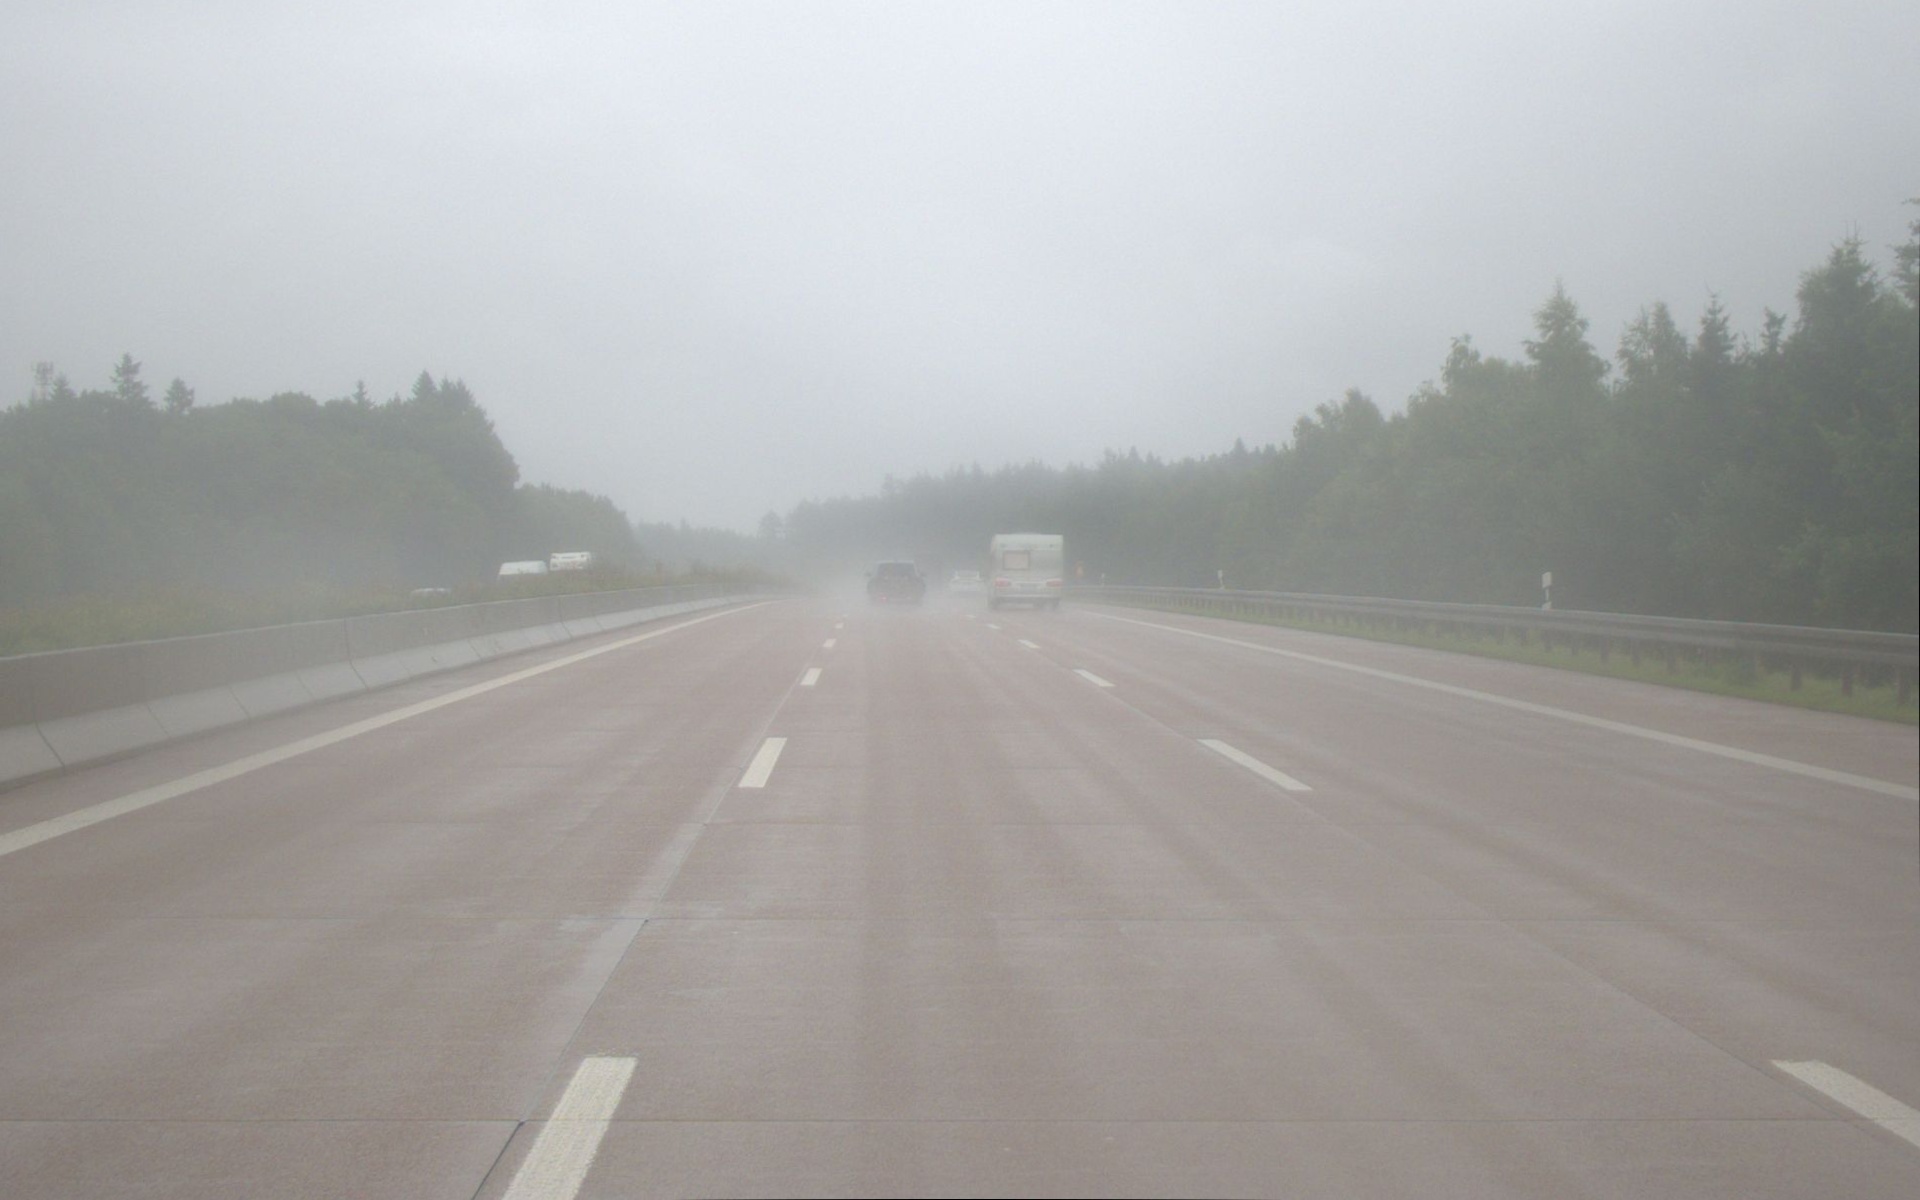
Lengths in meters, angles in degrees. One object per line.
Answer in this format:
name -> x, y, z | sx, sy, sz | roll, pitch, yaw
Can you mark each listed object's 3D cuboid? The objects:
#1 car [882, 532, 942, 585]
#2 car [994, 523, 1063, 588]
car -> -1.569, -1.382, 113.695 | 1.937, 1.723, 4.130 | 0, 1, 0
car -> 2.238, -1.487, 113.368 | 2.058, 1.993, 4.099 | 3, 1, -1
